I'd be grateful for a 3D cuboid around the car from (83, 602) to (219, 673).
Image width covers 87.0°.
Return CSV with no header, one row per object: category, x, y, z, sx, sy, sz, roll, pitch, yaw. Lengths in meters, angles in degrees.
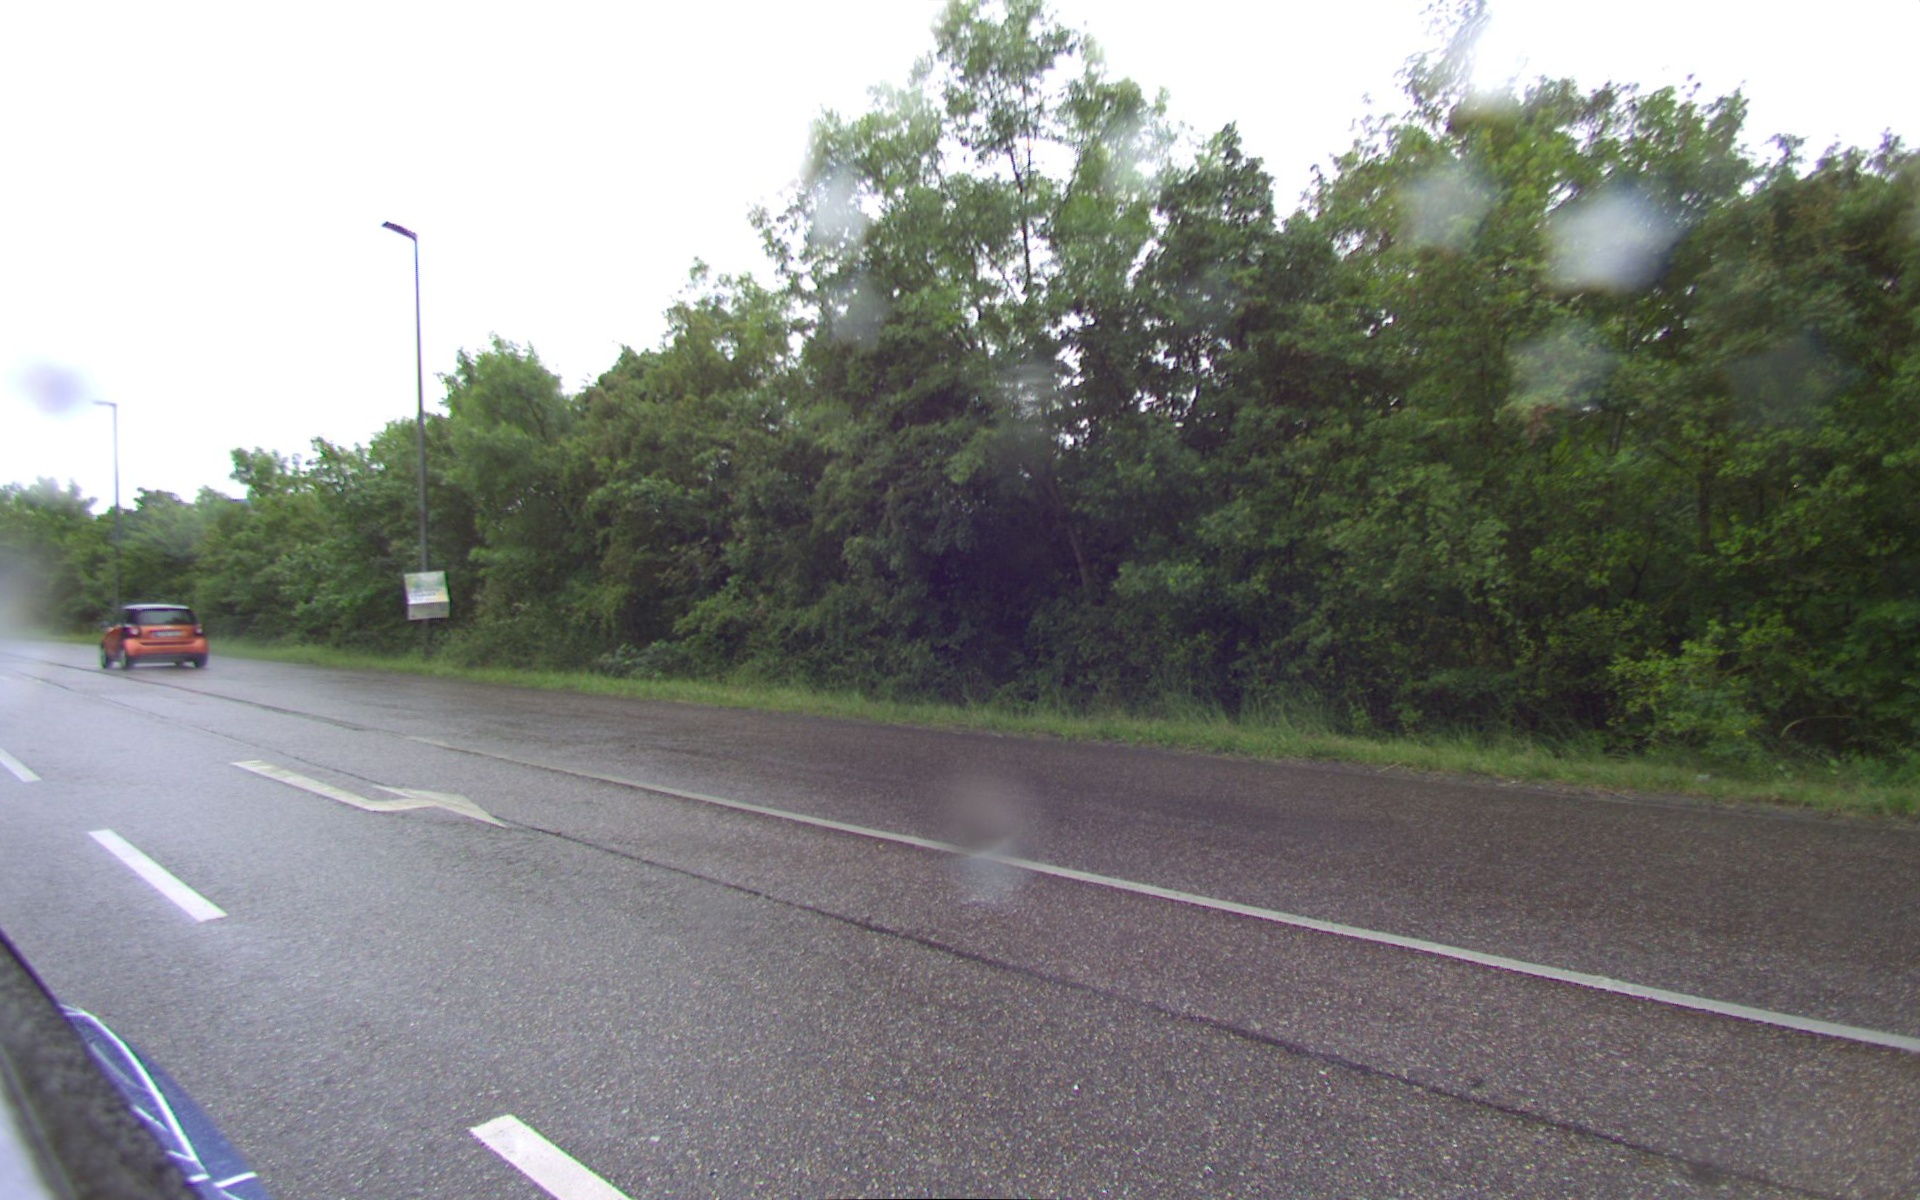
car,-20.156,0.867,25.157,3.998,1.597,1.973,0,0,41
